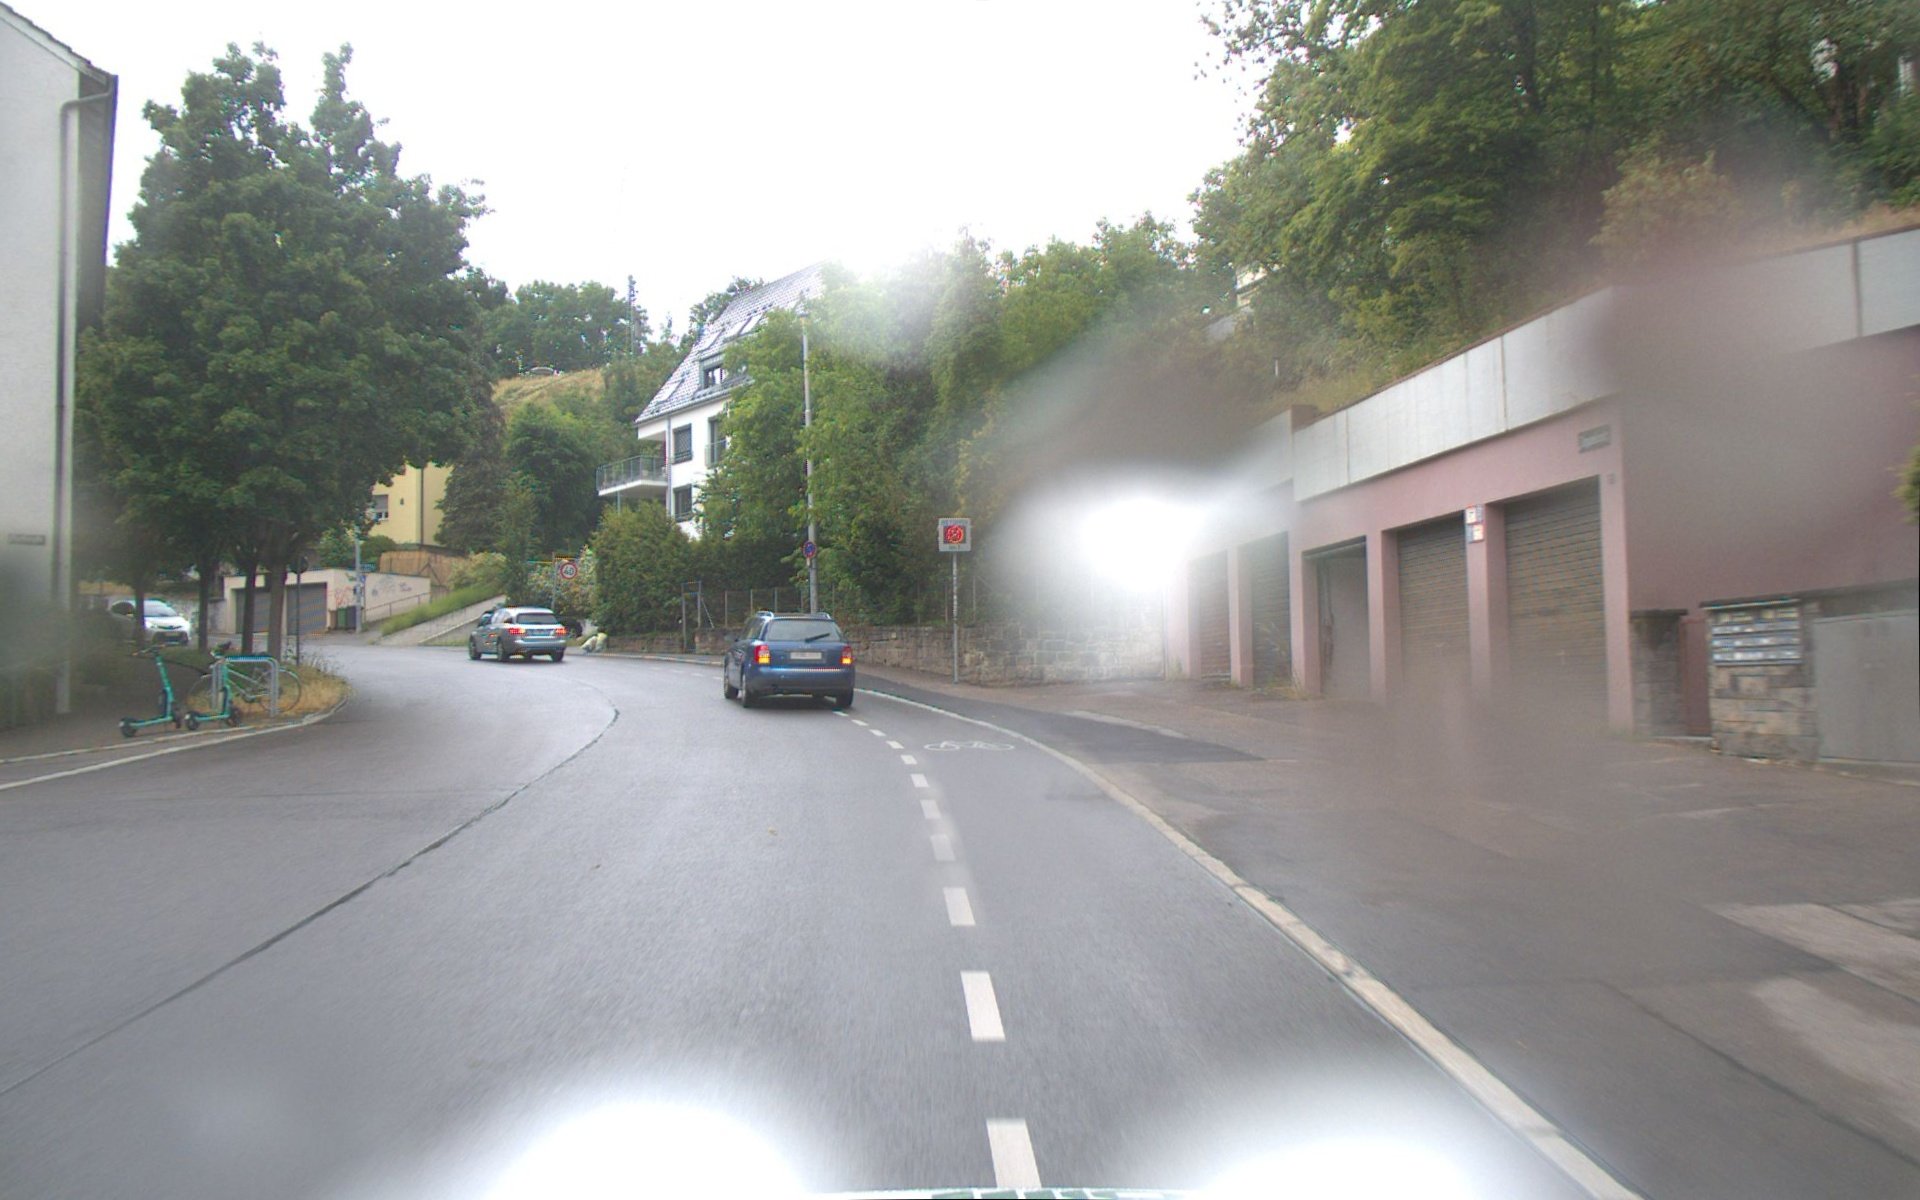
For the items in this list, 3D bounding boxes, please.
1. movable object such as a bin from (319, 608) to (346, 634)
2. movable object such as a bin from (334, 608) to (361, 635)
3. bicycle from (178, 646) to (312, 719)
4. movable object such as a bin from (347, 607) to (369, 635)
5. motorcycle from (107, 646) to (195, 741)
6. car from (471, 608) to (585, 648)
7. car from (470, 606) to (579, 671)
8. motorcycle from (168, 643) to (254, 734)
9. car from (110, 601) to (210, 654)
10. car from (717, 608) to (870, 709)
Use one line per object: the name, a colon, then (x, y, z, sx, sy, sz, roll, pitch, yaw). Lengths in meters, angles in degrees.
movable object such as a bin: (-28.324, 0.932, 74.627, 0.781, 1.162, 0.862, 0, 0, 23)
movable object such as a bin: (-27.552, 0.945, 74.371, 0.769, 1.206, 0.862, 0, 0, 23)
bicycle: (-11.416, 1.304, 26.422, 1.939, 1.079, 0.748, -1, 0, -27)
movable object such as a bin: (-26.953, 0.947, 74.040, 0.567, 1.245, 0.704, 0, 0, 23)
motorcycle: (-11.305, 1.290, 23.143, 0.541, 1.249, 1.306, 0, 0, 2)
car: (-16.844, 1.066, 64.570, 1.707, 1.534, 4.164, 0, 0, 38)
car: (-12.413, 1.065, 46.985, 1.929, 1.588, 4.221, 3, 0, -30)
motorcycle: (-10.737, 1.253, 23.743, 0.545, 1.225, 1.399, 0, 0, 2)
car: (-29.630, 1.004, 61.217, 1.975, 1.819, 4.619, -3, 2, -43)
car: (-2.775, 0.877, 26.720, 1.823, 1.438, 4.344, 0, 0, -15)
